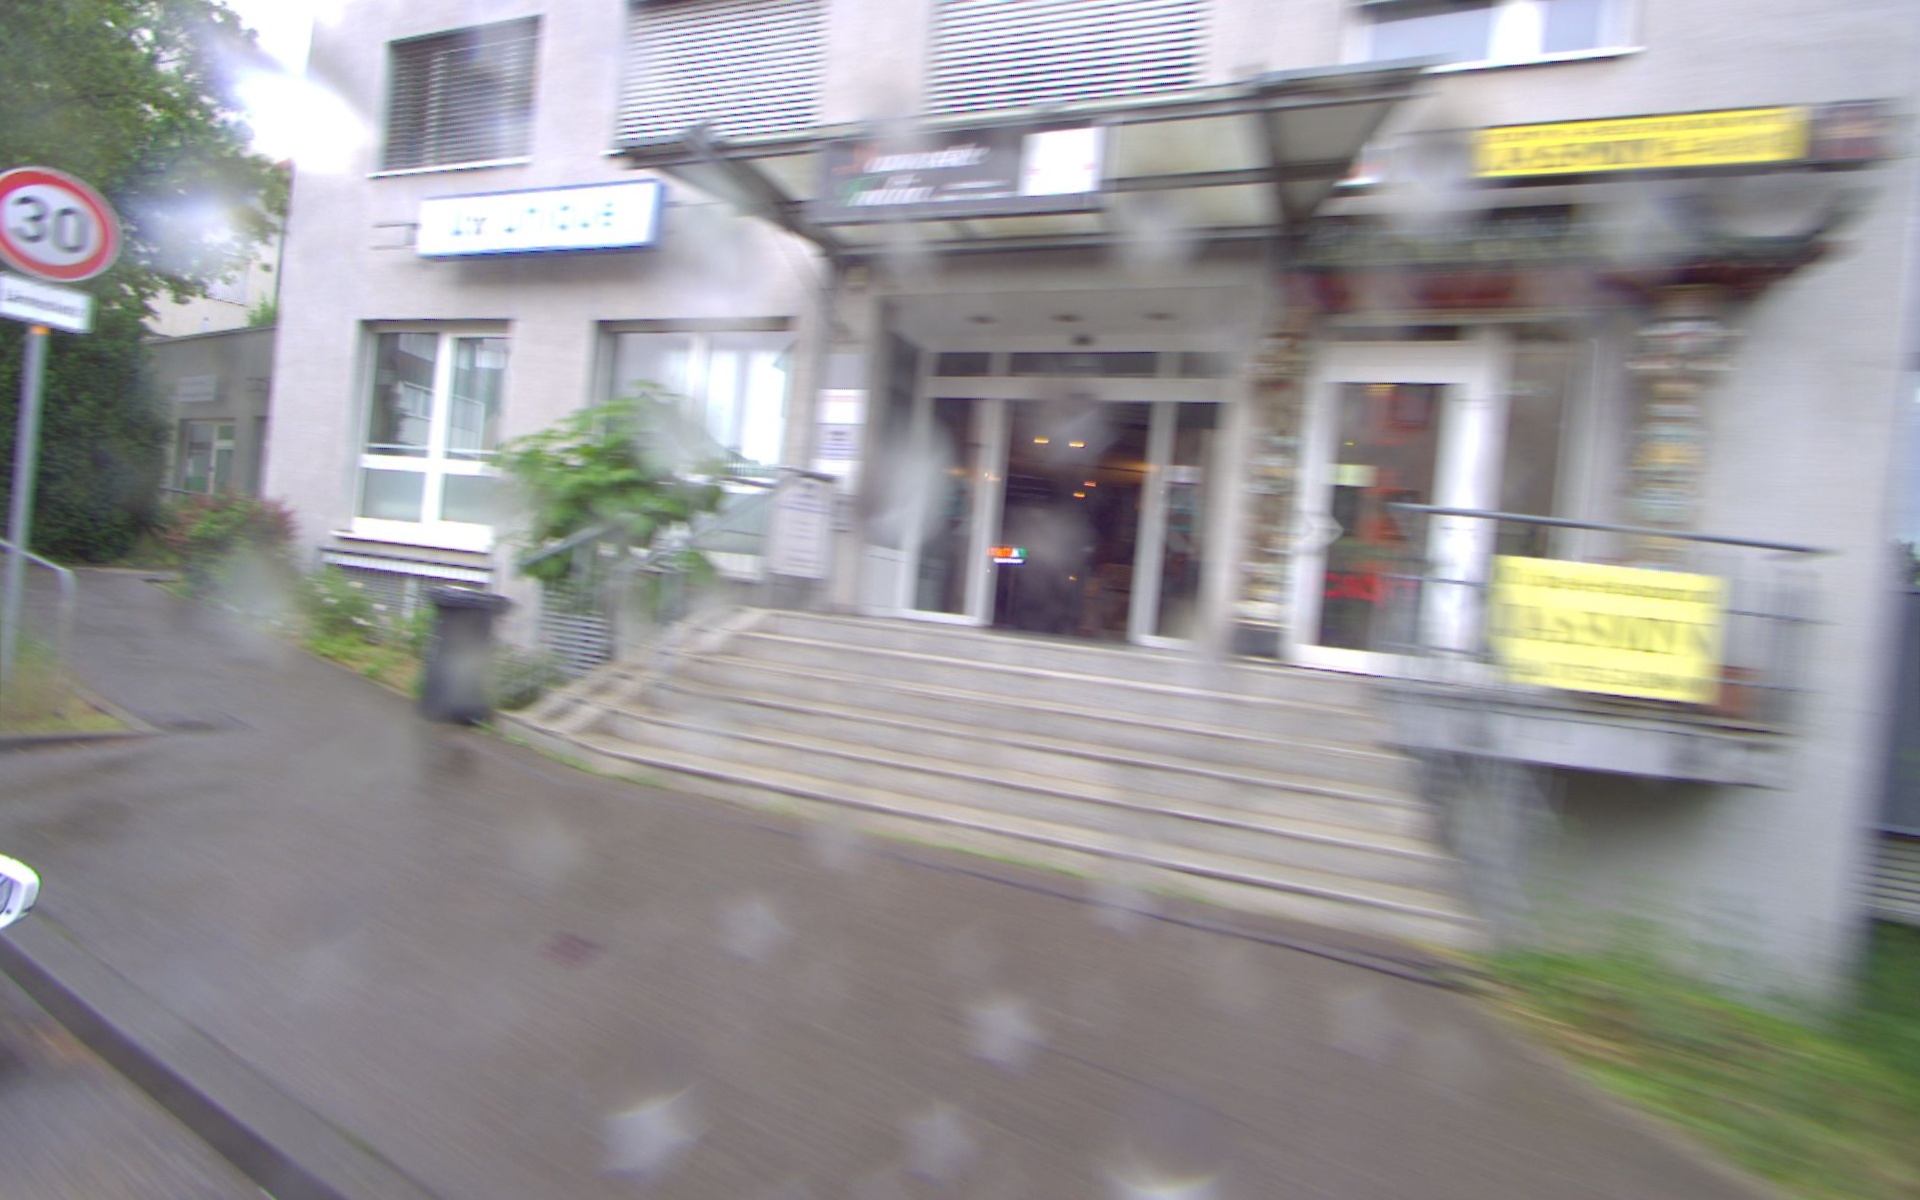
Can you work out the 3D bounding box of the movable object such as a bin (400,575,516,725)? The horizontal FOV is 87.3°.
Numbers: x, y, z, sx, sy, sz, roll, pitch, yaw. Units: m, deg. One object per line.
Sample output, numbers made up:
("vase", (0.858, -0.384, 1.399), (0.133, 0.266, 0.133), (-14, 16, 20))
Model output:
("movable object such as a bin", (-3.653, 0.360, 7.311), (0.510, 0.957, 0.595), (9, 2, -41))
